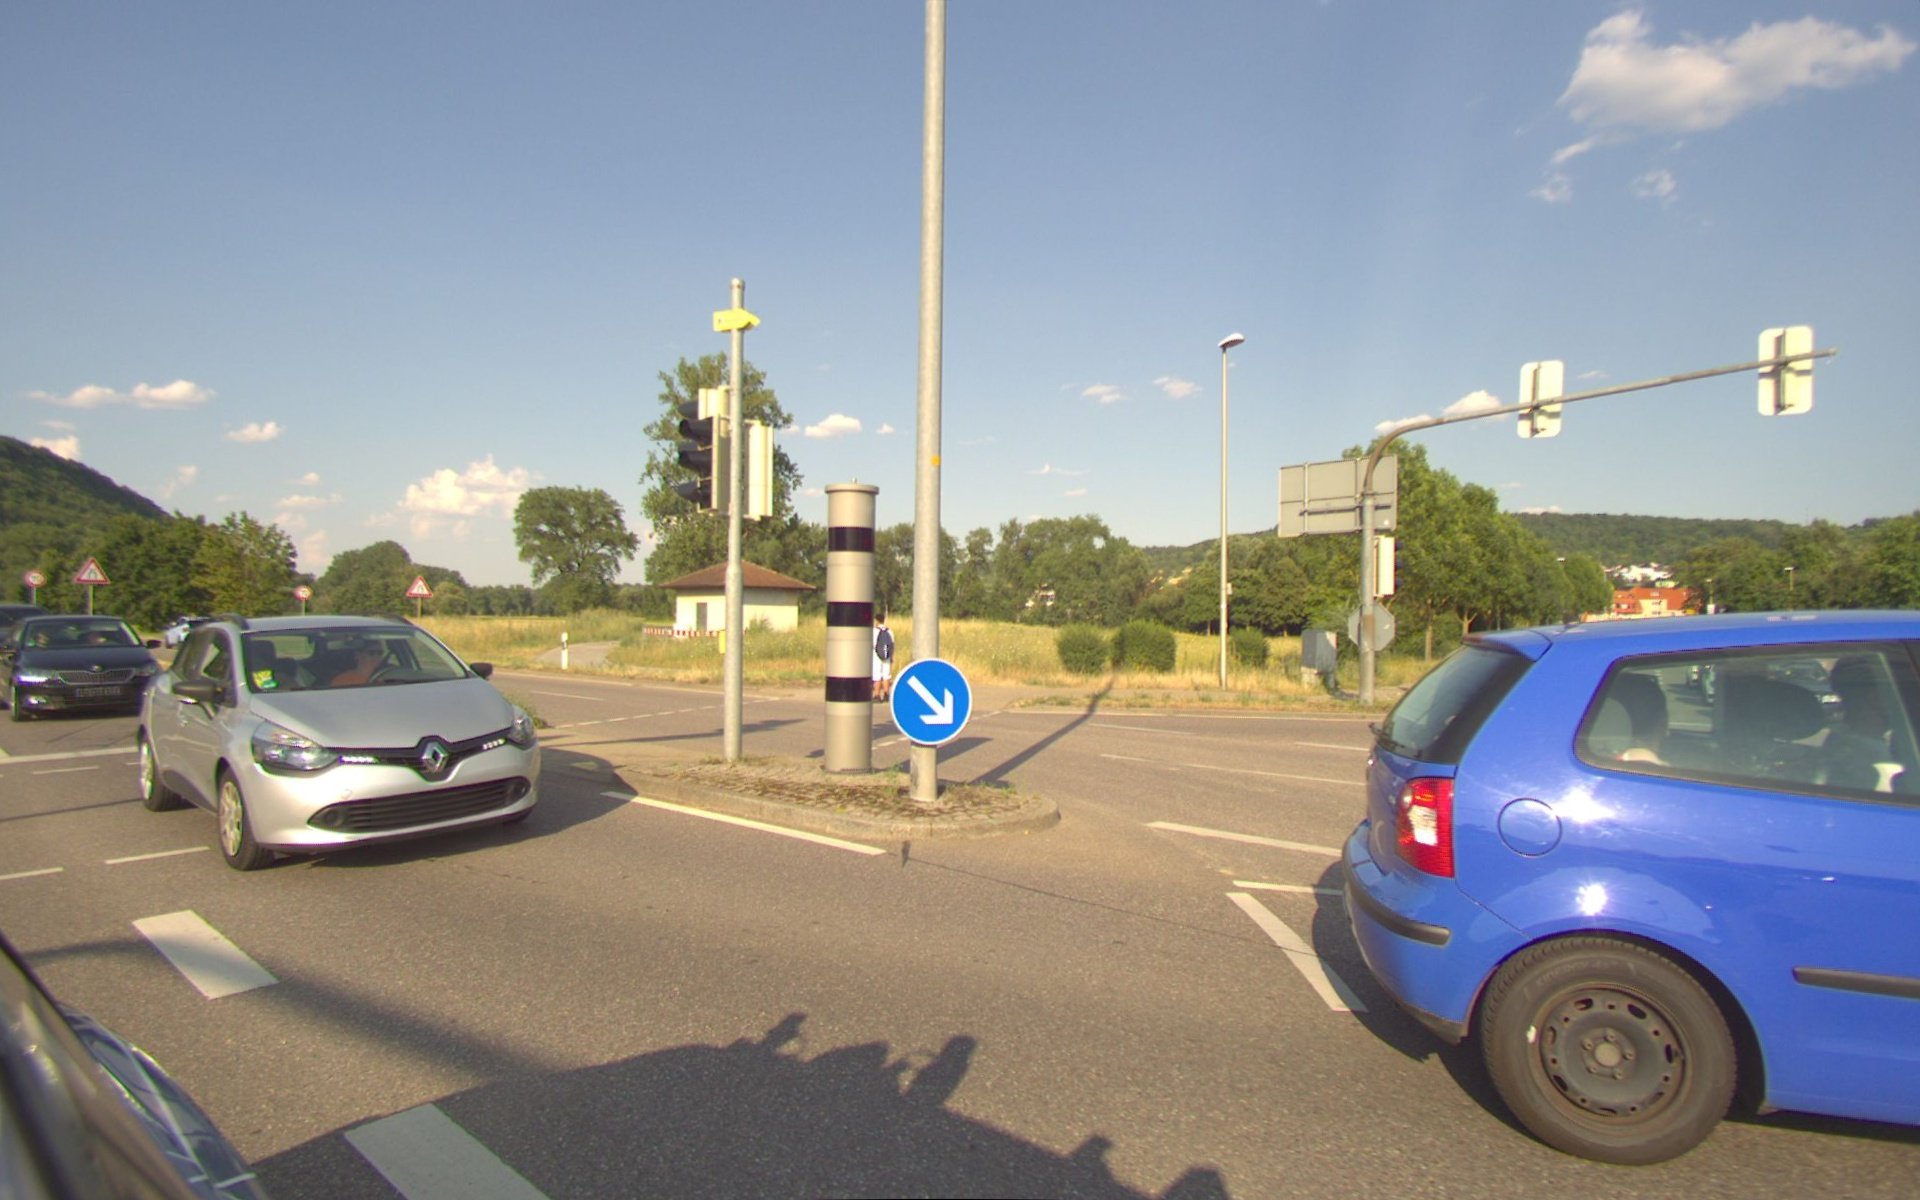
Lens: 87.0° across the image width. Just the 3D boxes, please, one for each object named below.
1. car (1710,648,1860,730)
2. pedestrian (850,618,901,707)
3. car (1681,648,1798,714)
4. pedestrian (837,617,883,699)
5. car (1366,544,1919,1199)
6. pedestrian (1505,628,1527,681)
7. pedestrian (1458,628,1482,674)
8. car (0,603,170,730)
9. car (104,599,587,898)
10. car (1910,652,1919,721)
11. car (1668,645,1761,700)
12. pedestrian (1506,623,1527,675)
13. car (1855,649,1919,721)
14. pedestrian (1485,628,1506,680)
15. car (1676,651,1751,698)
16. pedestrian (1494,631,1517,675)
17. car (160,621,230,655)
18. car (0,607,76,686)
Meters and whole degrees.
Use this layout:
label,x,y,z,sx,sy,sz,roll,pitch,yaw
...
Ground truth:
label,x,y,z,sx,sy,sz,roll,pitch,yaw
car,17.488,1.819,21.646,1.627,1.370,3.846,-1,0,26
pedestrian,-1.622,1.177,19.352,0.646,1.618,0.892,-1,0,-28
car,21.104,2.131,27.567,1.759,1.431,3.846,-1,0,26
pedestrian,-2.040,1.161,20.611,0.646,1.618,0.839,-1,0,-28
car,3.197,0.639,2.730,3.865,1.511,1.680,0,-1,22
pedestrian,22.200,2.159,40.402,0.722,2.029,0.687,-1,0,34
pedestrian,21.247,2.100,42.152,0.421,1.867,0.785,-1,0,-42
car,-12.977,0.852,14.771,3.999,1.586,1.596,0,0,42
car,-4.480,0.769,7.093,4.188,1.488,1.739,-1,-1,41
car,20.346,1.841,19.602,1.759,1.431,3.846,-1,0,26
car,24.133,2.259,32.516,1.759,1.431,3.844,-1,0,27
pedestrian,22.358,1.964,40.661,0.721,2.029,0.688,-1,0,30
car,23.509,2.028,24.496,1.759,1.431,3.846,-1,0,26
pedestrian,21.689,2.176,41.020,0.721,2.029,0.688,-1,0,30
car,27.884,2.716,37.565,1.761,1.431,3.840,-1,0,30
pedestrian,22.716,2.186,42.142,0.718,1.771,0.692,-1,0,17
car,-34.341,1.697,45.418,4.143,1.445,1.690,0,-3,42
car,-20.948,0.962,22.197,4.143,1.586,1.834,0,0,42
